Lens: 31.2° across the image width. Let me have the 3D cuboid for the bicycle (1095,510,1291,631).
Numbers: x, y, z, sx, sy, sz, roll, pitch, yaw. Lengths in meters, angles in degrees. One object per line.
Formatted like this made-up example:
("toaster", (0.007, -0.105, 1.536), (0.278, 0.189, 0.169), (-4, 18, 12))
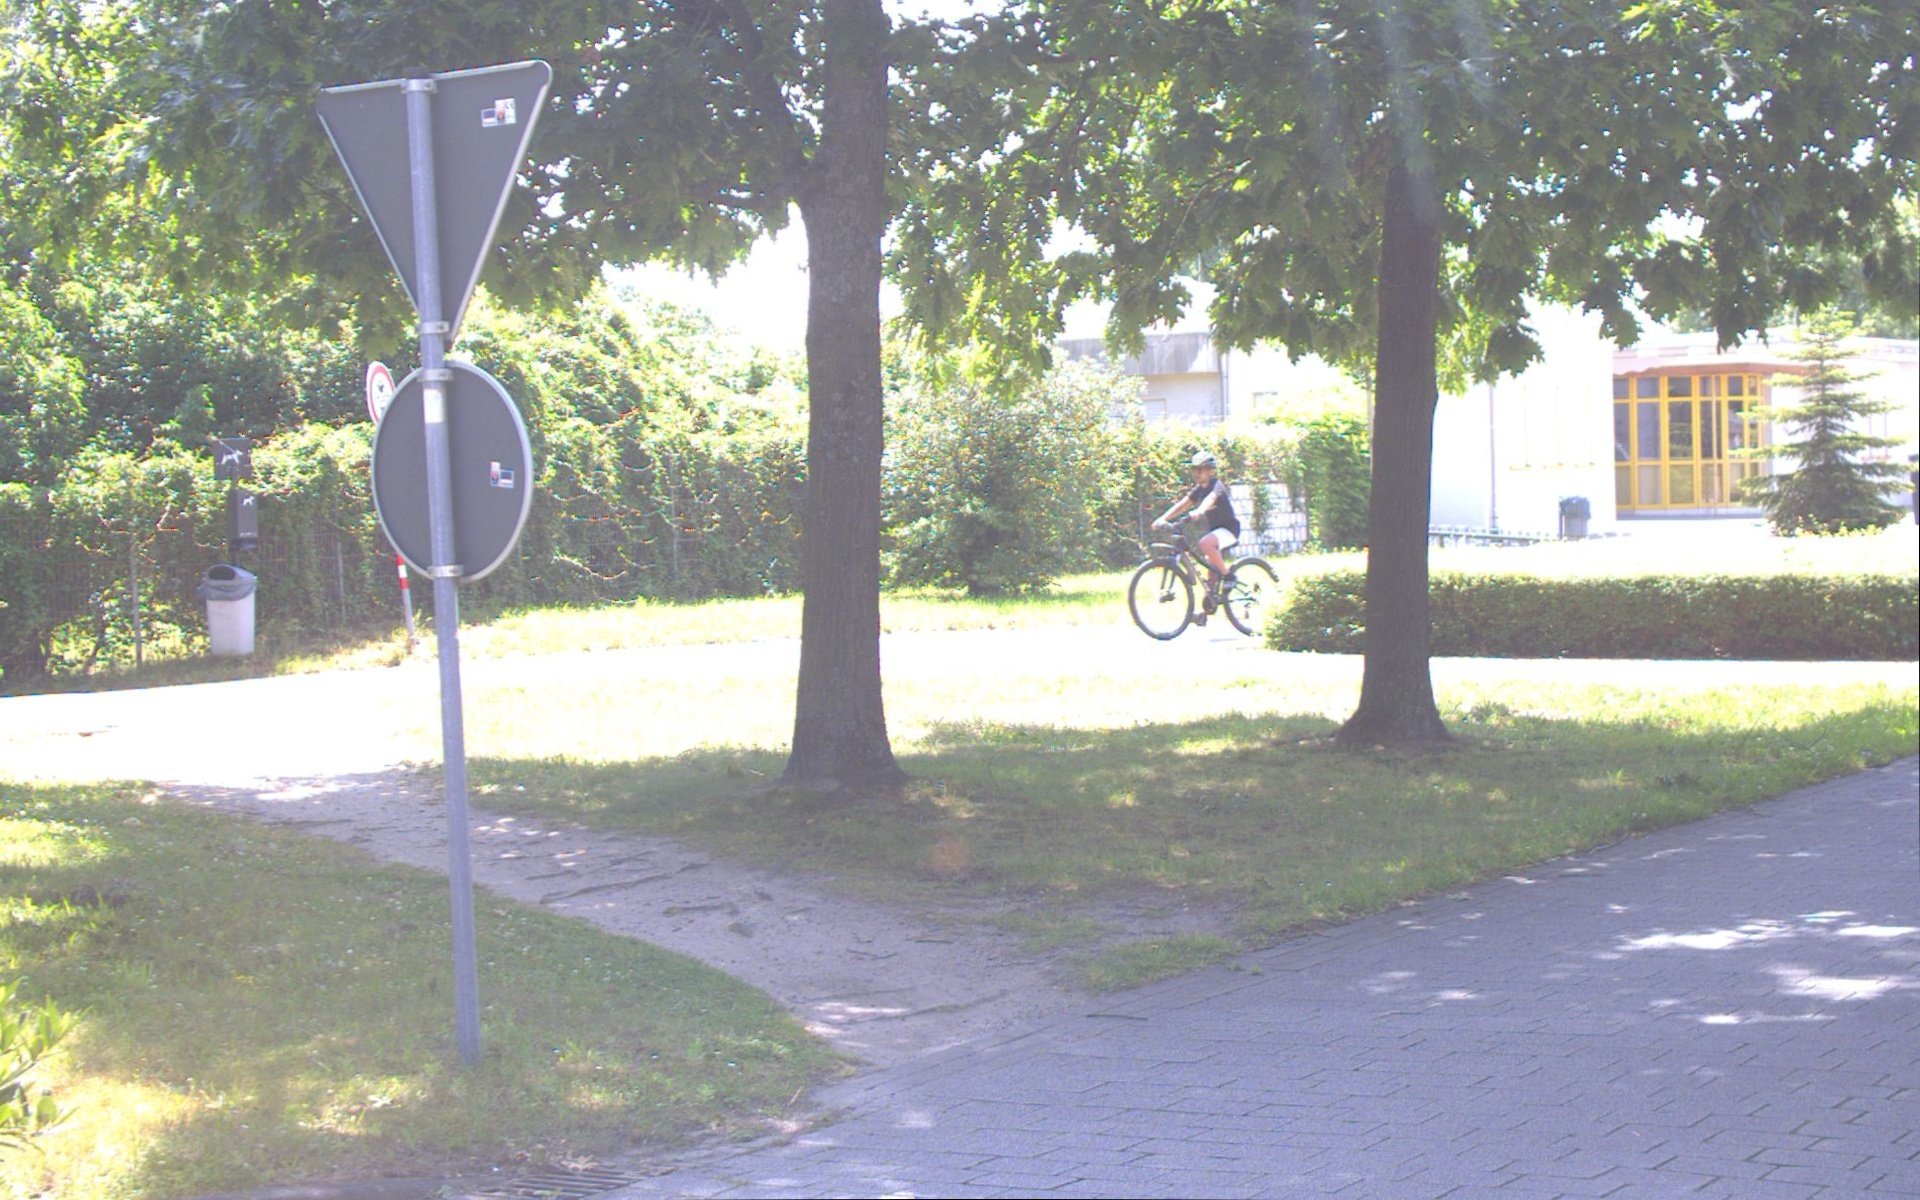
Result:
("bicycle", (1.945, -0.253, 28.528), (1.615, 0.925, 0.599), (-3, 3, -38))

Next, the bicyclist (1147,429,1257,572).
("bicyclist", (2.010, -0.828, 28.575), (0.646, 1.160, 0.599), (-3, 2, -38))
